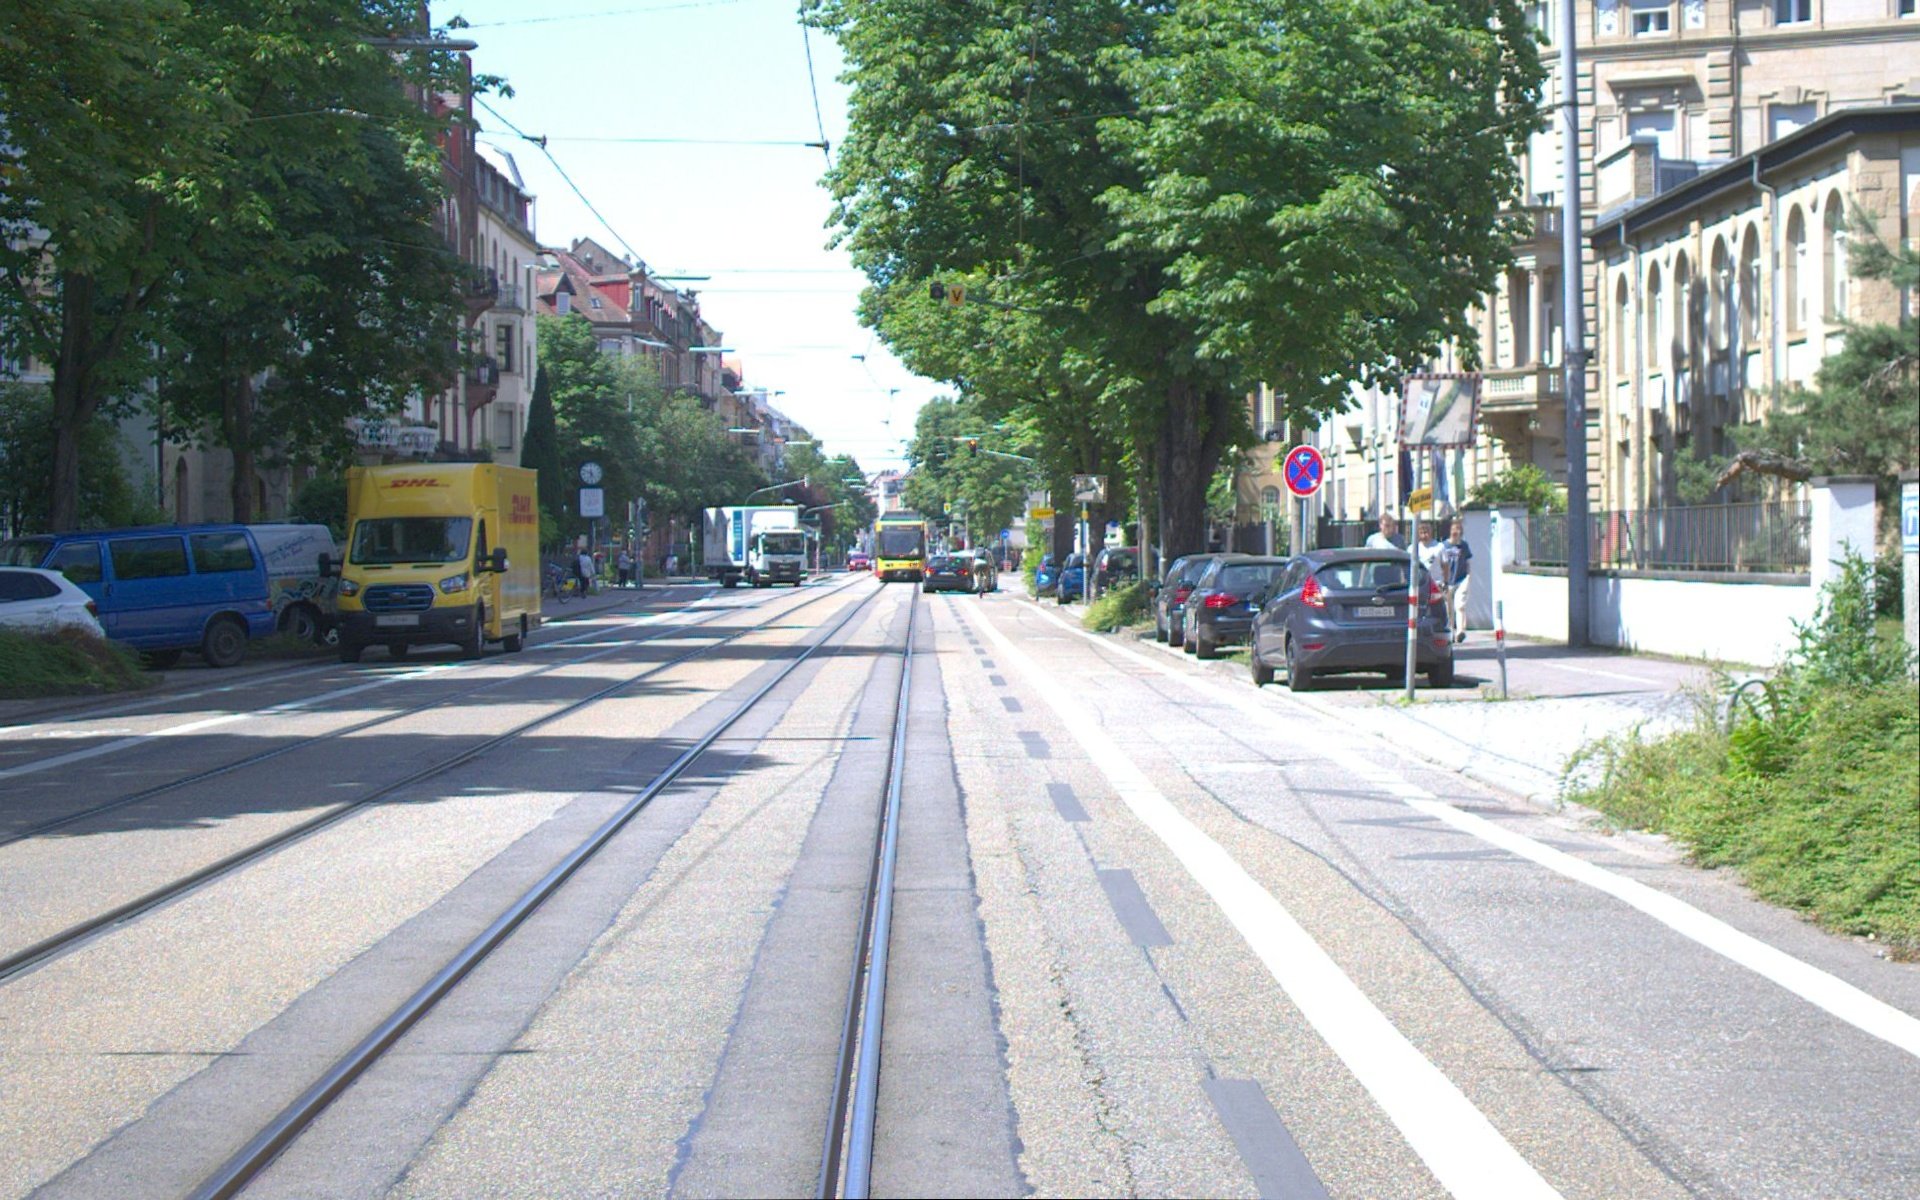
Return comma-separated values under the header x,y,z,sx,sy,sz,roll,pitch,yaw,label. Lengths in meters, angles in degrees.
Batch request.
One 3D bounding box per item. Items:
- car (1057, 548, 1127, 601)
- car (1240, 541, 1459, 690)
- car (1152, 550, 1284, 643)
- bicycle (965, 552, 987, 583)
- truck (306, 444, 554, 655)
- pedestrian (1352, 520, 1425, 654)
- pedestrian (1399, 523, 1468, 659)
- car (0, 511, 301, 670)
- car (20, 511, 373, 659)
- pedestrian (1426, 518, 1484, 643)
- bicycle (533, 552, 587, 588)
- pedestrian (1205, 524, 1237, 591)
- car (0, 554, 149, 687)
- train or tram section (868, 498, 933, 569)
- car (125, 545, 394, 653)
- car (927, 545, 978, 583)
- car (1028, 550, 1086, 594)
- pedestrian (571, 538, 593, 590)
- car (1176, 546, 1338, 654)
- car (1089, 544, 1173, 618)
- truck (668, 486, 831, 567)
x,y,z,sx,sy,sz,roll,pitch,yaw,label
3.705,-0.720,96.989,1.710,1.418,4.310,-1,1,-1,car
4.100,0.134,36.706,1.639,1.480,3.874,-1,1,-4,car
4.126,-0.081,55.549,1.710,1.418,4.244,-1,1,-1,car
0.519,-1.044,110.339,0.639,0.966,1.781,1,-1,-2,bicycle
-7.698,-0.772,50.822,2.360,2.842,7.378,-1,1,1,truck
5.989,-0.183,48.082,0.810,1.853,0.575,0,1,35,pedestrian
6.518,-0.126,47.345,0.725,1.853,0.575,0,1,38,pedestrian
-11.321,-0.153,45.835,1.846,1.949,4.719,-1,2,44,car
-11.506,-0.253,51.990,4.749,2.055,2.026,-3,1,-39,car
6.971,-0.275,48.420,0.620,1.731,0.477,-1,0,35,pedestrian
-11.209,-0.835,96.385,0.544,0.966,1.778,1,-1,29,bicycle
7.244,-1.183,95.348,0.808,1.853,0.623,0,-1,-2,pedestrian
-11.500,0.292,39.276,1.761,1.428,3.991,-2,1,42,car
-2.901,-3.310,171.754,3.035,3.426,11.971,0,1,0,train or tram section
-11.284,-0.031,55.543,1.746,1.595,3.909,-1,2,44,car
-0.287,-1.292,122.991,1.781,1.341,3.416,0,1,0,car
3.238,-0.931,115.294,1.710,1.418,4.310,-1,1,-1,car
-11.696,-1.111,106.346,0.572,1.610,0.816,0,1,0,pedestrian
4.191,-0.021,49.112,1.876,1.450,4.528,-1,1,0,car
3.843,-0.431,77.630,1.592,1.611,3.908,-1,1,-1,car
-9.482,-3.282,154.002,2.940,3.538,8.450,-1,2,-39,truck
